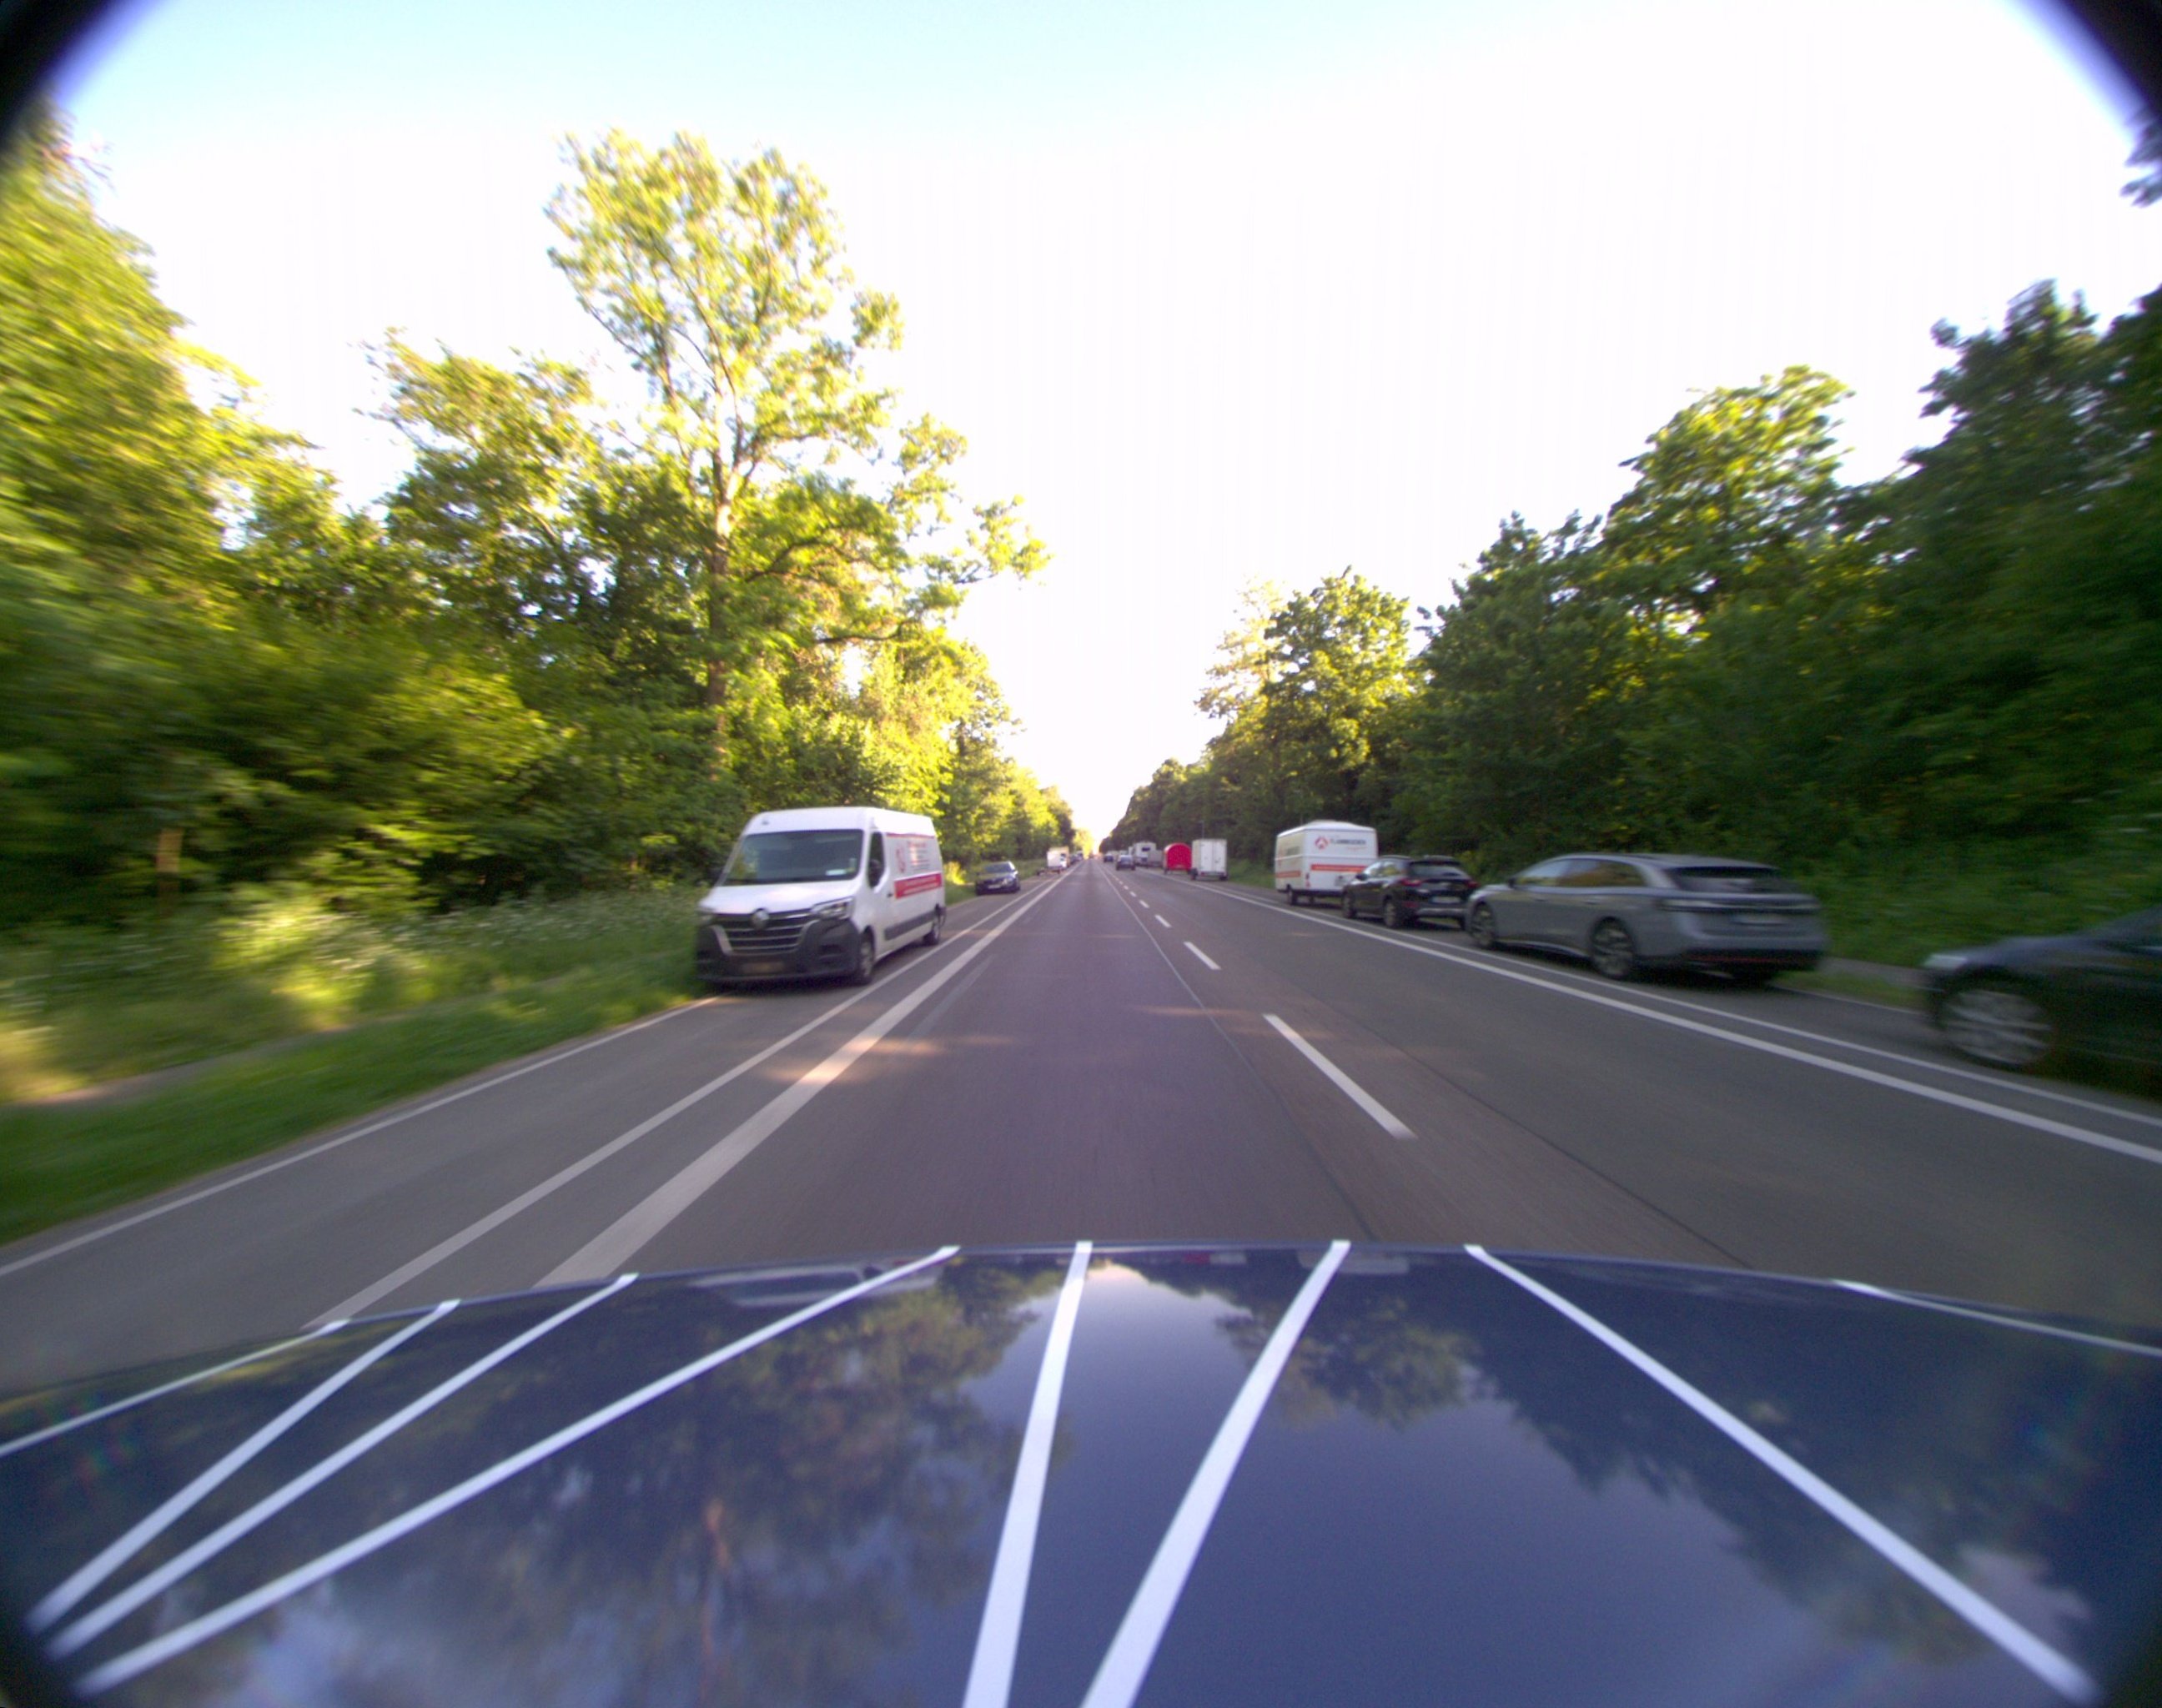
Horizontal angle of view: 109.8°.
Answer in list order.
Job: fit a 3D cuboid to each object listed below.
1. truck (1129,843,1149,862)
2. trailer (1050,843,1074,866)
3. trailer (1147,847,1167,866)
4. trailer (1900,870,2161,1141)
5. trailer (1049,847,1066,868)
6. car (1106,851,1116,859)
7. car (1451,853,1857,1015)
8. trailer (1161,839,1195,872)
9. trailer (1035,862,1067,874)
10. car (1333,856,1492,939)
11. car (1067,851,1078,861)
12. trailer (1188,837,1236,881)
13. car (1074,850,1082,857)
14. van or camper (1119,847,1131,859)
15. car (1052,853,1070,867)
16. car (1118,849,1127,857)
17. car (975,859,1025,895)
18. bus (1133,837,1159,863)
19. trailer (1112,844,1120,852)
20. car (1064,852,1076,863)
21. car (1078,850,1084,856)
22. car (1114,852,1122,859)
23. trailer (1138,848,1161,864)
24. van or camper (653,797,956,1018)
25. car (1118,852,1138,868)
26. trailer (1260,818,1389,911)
[{"bbox_3d":[8.997,-0.284,118.555,2.488,2.807,8.424,-2,0,1],"label":"truck"},{"bbox_3d":[-2.478,-0.027,103.158,2.928,2.825,9.881,-4,1,0],"label":"trailer"},{"bbox_3d":[8.447,0.302,84.770,1.857,2.002,3.561,1,0,1],"label":"trailer"},{"bbox_3d":[7.057,0.886,3.470,1.845,1.457,4.466,-2,0,1],"label":"trailer"},{"bbox_3d":[-2.478,0.402,80.815,1.758,2.149,3.539,-1,0,0],"label":"trailer"},{"bbox_3d":[5.850,0.158,148.506,1.823,1.577,4.459,0,1,1],"label":"car"},{"bbox_3d":[7.138,0.818,10.378,1.675,1.565,5.126,2,1,1],"label":"car"},{"bbox_3d":[7.626,0.116,60.252,2.072,2.466,3.560,-1,0,-2],"label":"trailer"},{"bbox_3d":[-2.586,1.168,66.422,2.439,0.794,5.659,-2,1,1],"label":"trailer"},{"bbox_3d":[7.059,0.842,16.690,1.675,1.486,4.194,2,1,1],"label":"car"},{"bbox_3d":[-1.576,0.323,147.592,1.998,1.888,5.473,-2,0,1],"label":"car"},{"bbox_3d":[7.778,0.280,45.342,2.072,2.466,3.560,-1,0,-2],"label":"trailer"},{"bbox_3d":[-0.745,-0.200,194.124,1.837,1.608,4.000,-2,0,1],"label":"car"},{"bbox_3d":[9.666,-0.280,167.012,2.253,2.599,5.984,-1,0,1],"label":"van or camper"},{"bbox_3d":[-2.237,0.709,86.753,1.892,1.459,4.569,-2,0,1],"label":"car"},{"bbox_3d":[9.728,-0.253,177.872,1.998,1.797,4.144,-2,0,1],"label":"car"},{"bbox_3d":[-3.648,0.990,34.987,1.839,1.412,4.596,-4,0,-2],"label":"car"},{"bbox_3d":[9.084,-0.594,107.281,2.835,3.411,11.199,-2,1,1],"label":"bus"},{"bbox_3d":[9.756,-1.698,211.759,1.998,2.227,3.999,-2,1,1],"label":"trailer"},{"bbox_3d":[-1.771,0.497,121.145,1.804,1.681,4.601,-2,1,1],"label":"car"},{"bbox_3d":[-0.092,-0.368,237.957,1.837,1.608,4.000,-2,0,1],"label":"car"},{"bbox_3d":[9.901,0.385,204.811,1.998,1.620,4.144,-2,0,1],"label":"car"},{"bbox_3d":[8.895,0.228,98.526,2.434,1.903,6.264,-2,0,1],"label":"trailer"},{"bbox_3d":[-3.651,0.596,11.749,2.130,2.468,6.305,-1,0,2],"label":"van or camper"},{"bbox_3d":[4.655,0.560,75.831,1.824,1.524,4.530,0,1,1],"label":"car"},{"bbox_3d":[7.207,0.274,23.001,2.352,2.514,4.343,-1,0,-2],"label":"trailer"}]
